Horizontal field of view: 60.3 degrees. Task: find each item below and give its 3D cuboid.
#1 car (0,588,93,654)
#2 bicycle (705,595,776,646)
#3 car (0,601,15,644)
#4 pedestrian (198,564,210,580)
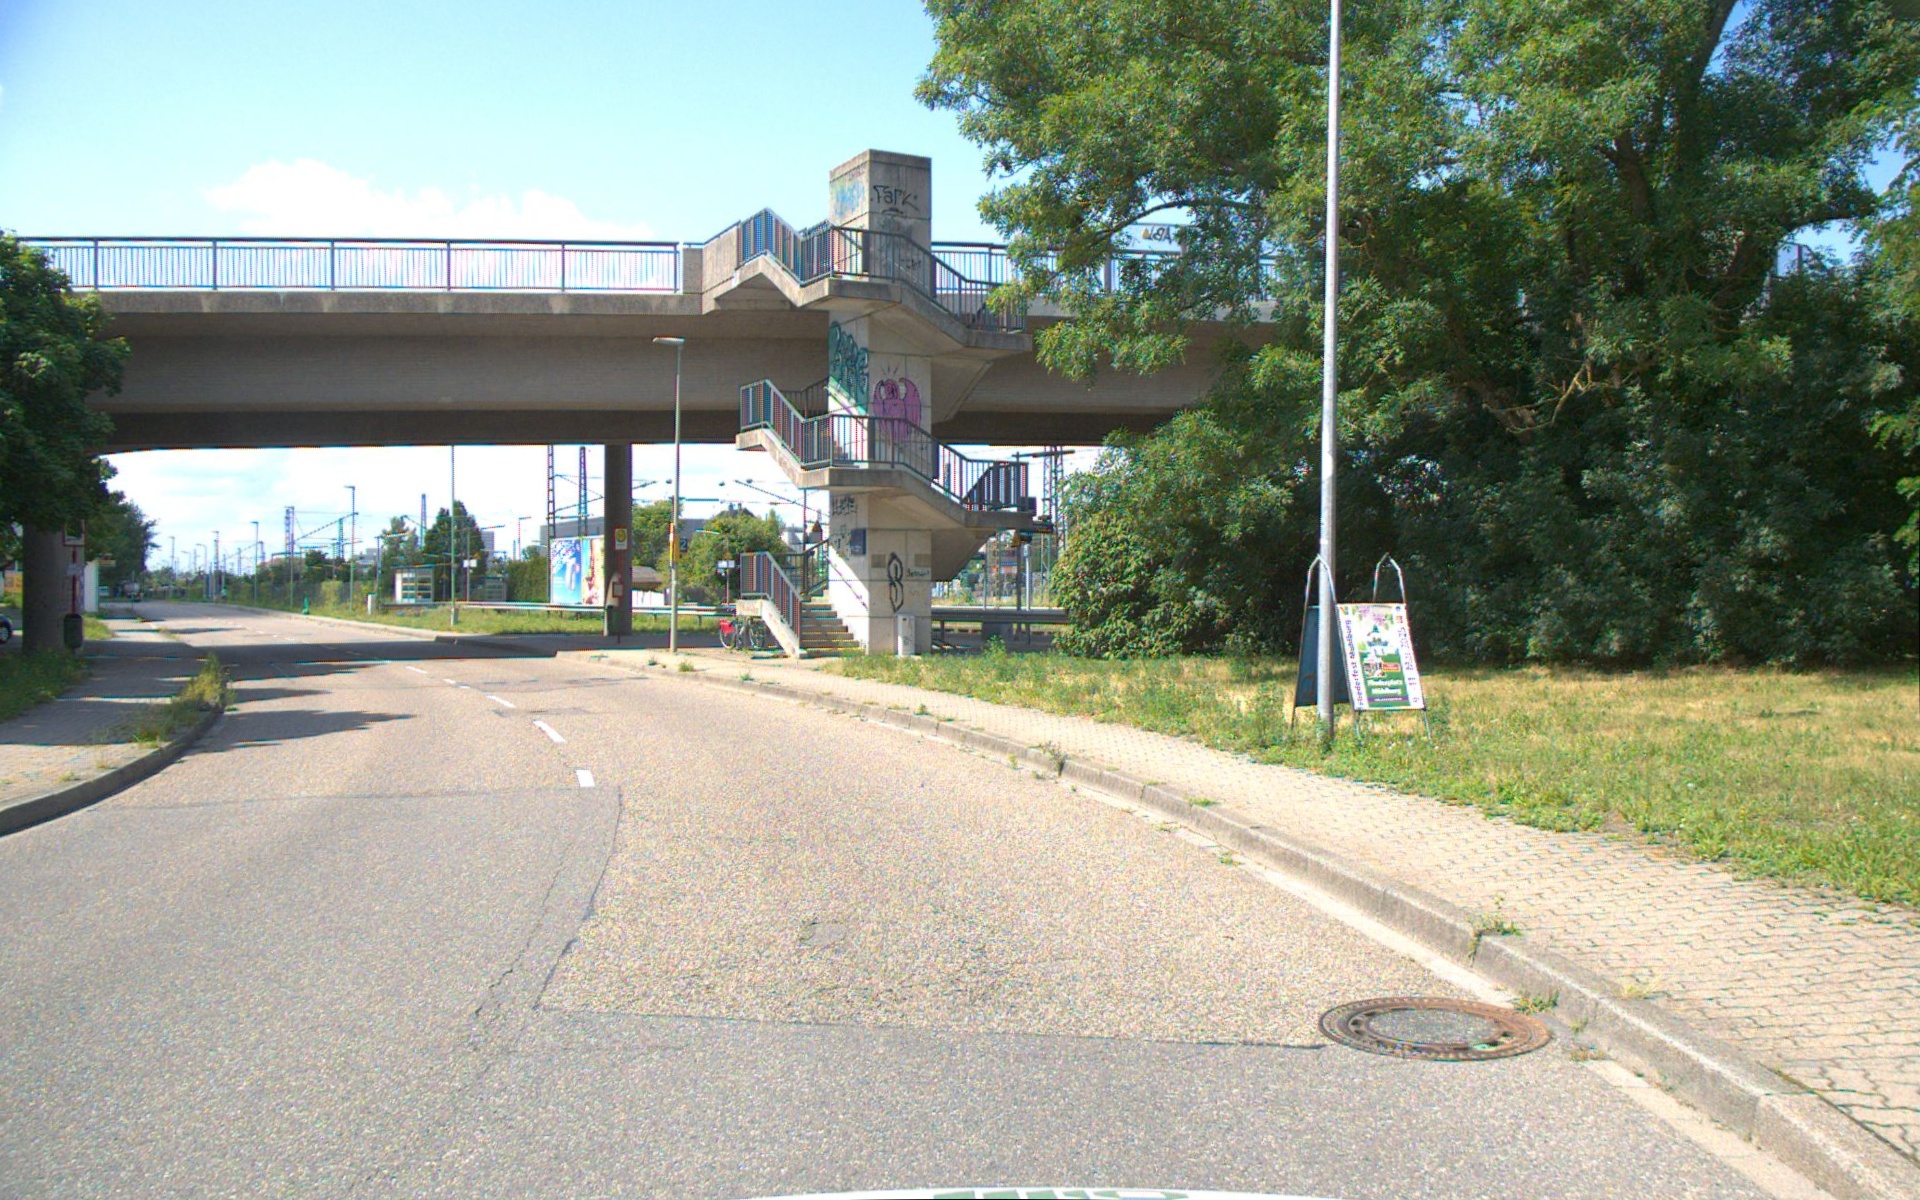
[{"bbox_3d":[-25.624,0.535,45.066,1.645,1.658,4.574,-1,1,-1],"label":"car"},{"bbox_3d":[-5.158,0.464,38.728,0.638,1.127,2.162,-3,2,-37],"label":"bicycle"},{"bbox_3d":[-30.610,0.734,50.039,1.651,1.307,3.454,-1,1,9],"label":"car"},{"bbox_3d":[-92.119,-3.409,201.448,0.831,2.049,1.060,1,1,22],"label":"pedestrian"}]
